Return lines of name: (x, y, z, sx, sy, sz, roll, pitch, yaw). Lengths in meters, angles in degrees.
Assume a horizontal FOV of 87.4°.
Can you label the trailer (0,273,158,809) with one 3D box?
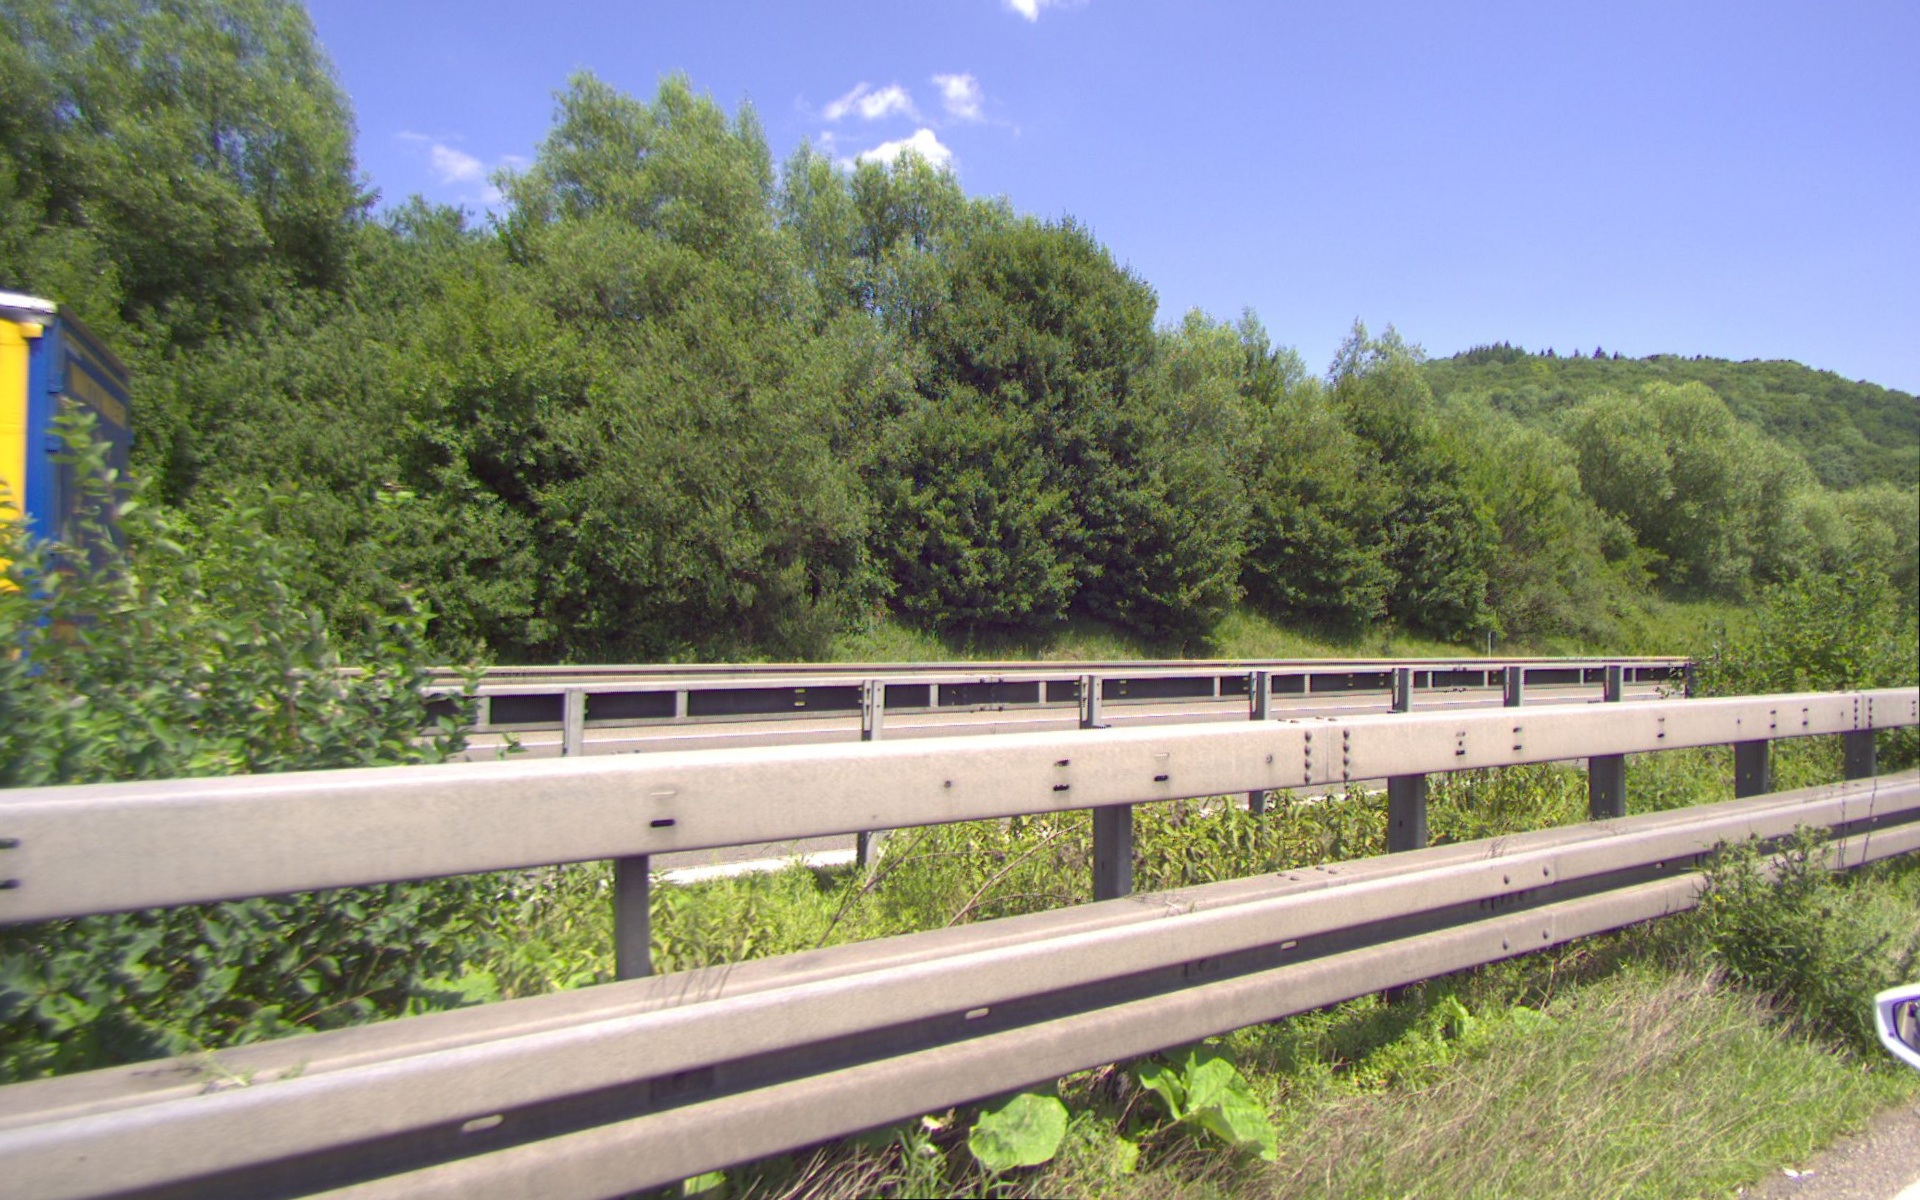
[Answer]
trailer: (-12.887, -0.578, 5.876, 12.450, 4.058, 2.569, 1, 0, -30)
